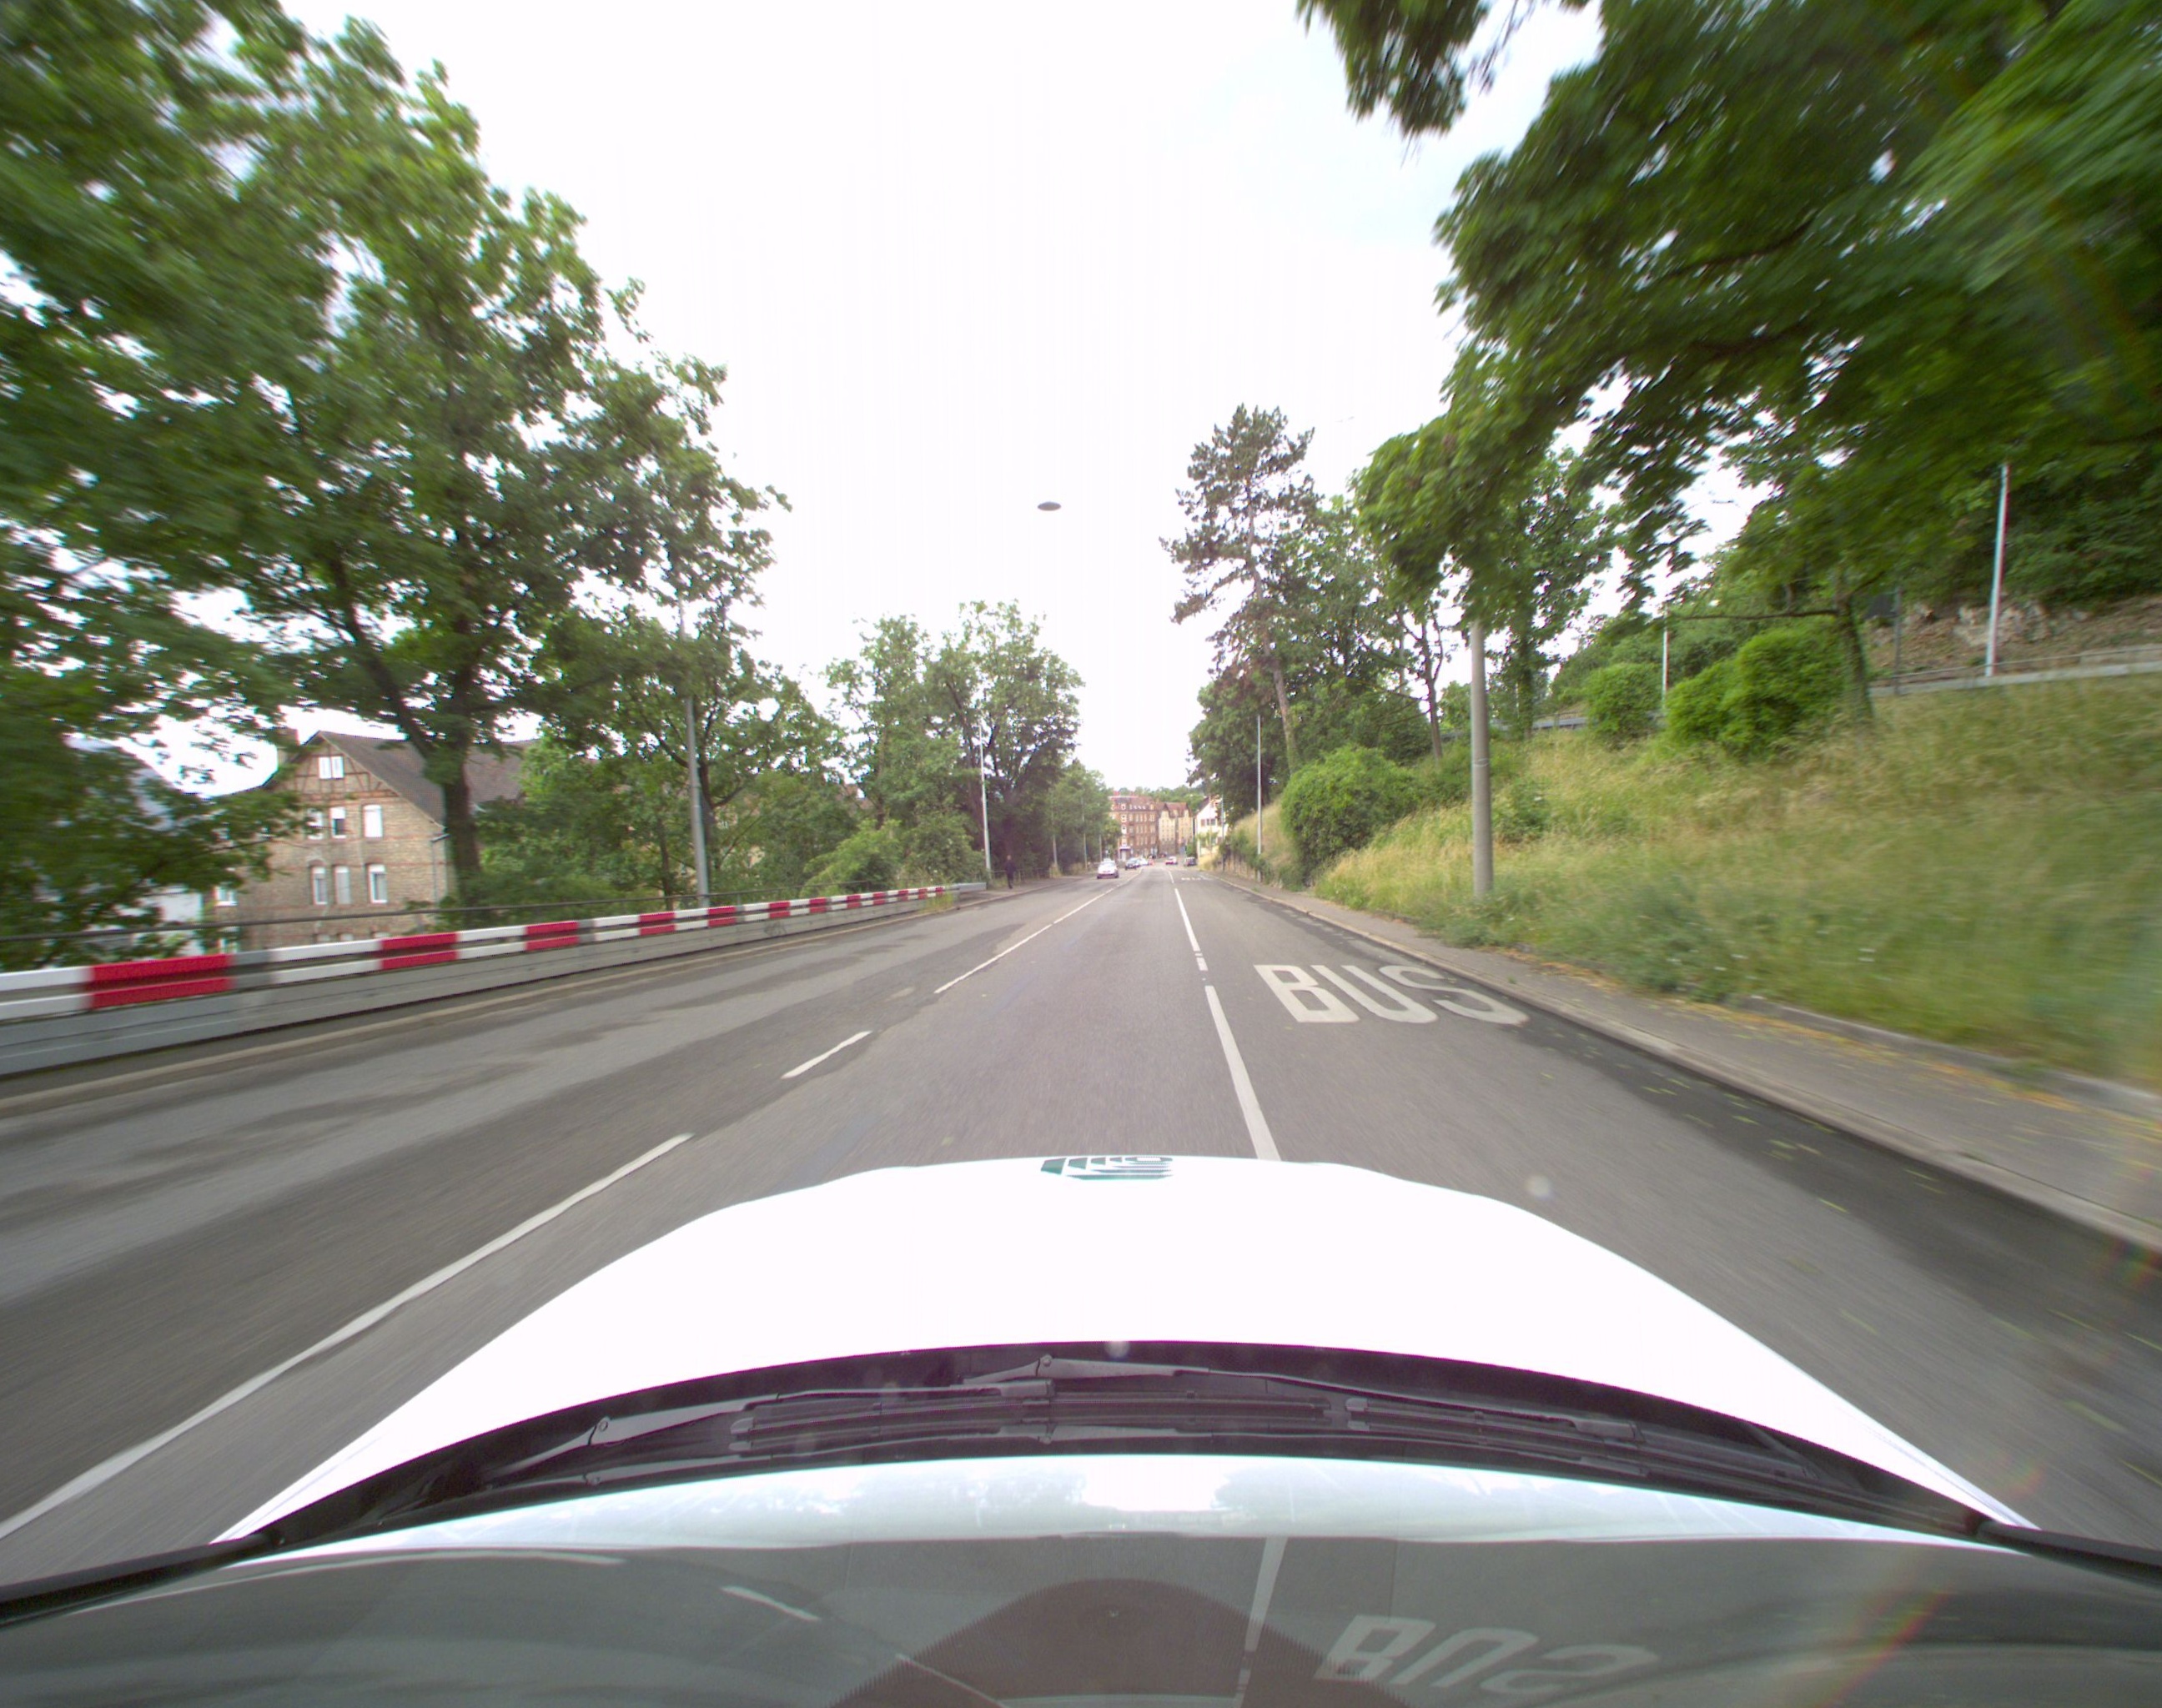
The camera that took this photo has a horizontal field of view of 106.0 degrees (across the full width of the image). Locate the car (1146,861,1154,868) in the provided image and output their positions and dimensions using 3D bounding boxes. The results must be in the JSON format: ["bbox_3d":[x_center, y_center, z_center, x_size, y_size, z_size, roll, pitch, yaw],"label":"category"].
[{"bbox_3d":[16.323,2.446,193.622,1.775,1.459,4.434,-3,-1,5],"label":"car"}]

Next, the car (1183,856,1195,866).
[{"bbox_3d":[18.147,1.190,136.838,1.673,1.451,4.006,-5,-2,5],"label":"car"}]

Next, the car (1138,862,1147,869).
[{"bbox_3d":[13.043,2.464,173.909,1.775,1.574,4.286,-3,-1,5],"label":"car"}]

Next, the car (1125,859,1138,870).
[{"bbox_3d":[7.370,1.570,119.110,1.660,1.447,3.694,-3,-1,6],"label":"car"}]

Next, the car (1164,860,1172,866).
[{"bbox_3d":[21.039,2.059,196.862,1.805,1.430,4.011,0,0,10],"label":"car"}]

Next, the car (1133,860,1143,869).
[{"bbox_3d":[9.836,1.851,140.856,1.705,1.427,4.144,-2,-1,5],"label":"car"}]

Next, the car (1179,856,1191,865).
[{"bbox_3d":[18.621,1.213,145.773,1.784,1.451,4.730,-5,-1,9],"label":"car"}]

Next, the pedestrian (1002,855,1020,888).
[{"bbox_3d":[-3.855,0.957,44.874,0.785,1.774,1.210,1,0,3],"label":"pedestrian"}]

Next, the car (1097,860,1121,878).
[{"bbox_3d":[2.424,1.284,70.239,1.785,1.427,4.150,-1,0,6],"label":"car"}]

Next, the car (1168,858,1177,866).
[{"bbox_3d":[22.933,2.030,203.804,1.897,1.884,4.011,-1,-1,10],"label":"car"}]
